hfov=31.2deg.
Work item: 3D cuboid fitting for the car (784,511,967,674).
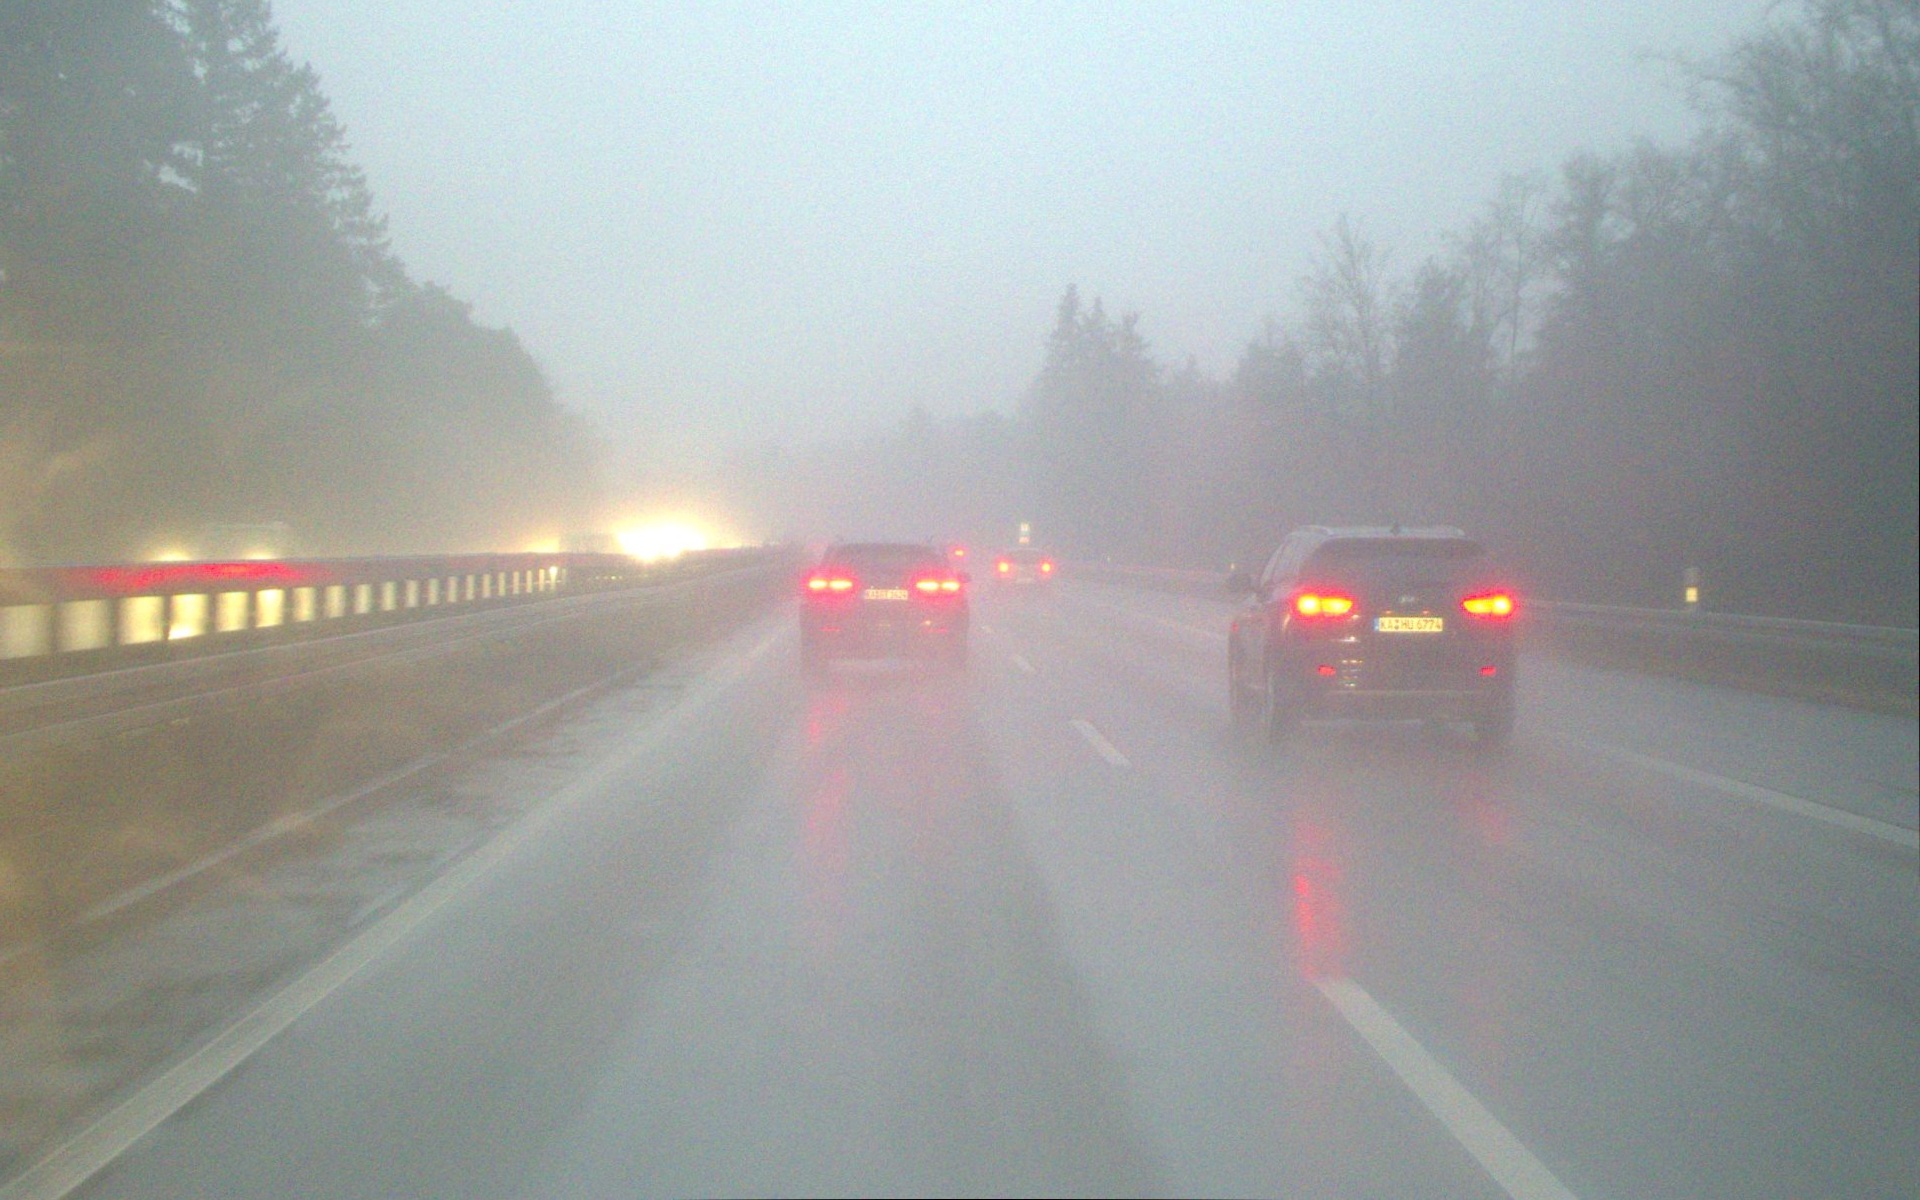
[{"bbox_3d":[-0.971,-0.116,39.838,1.986,1.761,4.174,-1,1,-1],"label":"car"}]

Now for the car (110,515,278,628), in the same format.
[{"bbox_3d":[-13.790,-0.536,62.179,1.993,1.943,4.712,1,1,0],"label":"car"}]

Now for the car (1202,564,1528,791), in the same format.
[{"bbox_3d":[3.253,0.572,28.507,2.070,1.692,4.461,1,1,-1],"label":"car"}]
